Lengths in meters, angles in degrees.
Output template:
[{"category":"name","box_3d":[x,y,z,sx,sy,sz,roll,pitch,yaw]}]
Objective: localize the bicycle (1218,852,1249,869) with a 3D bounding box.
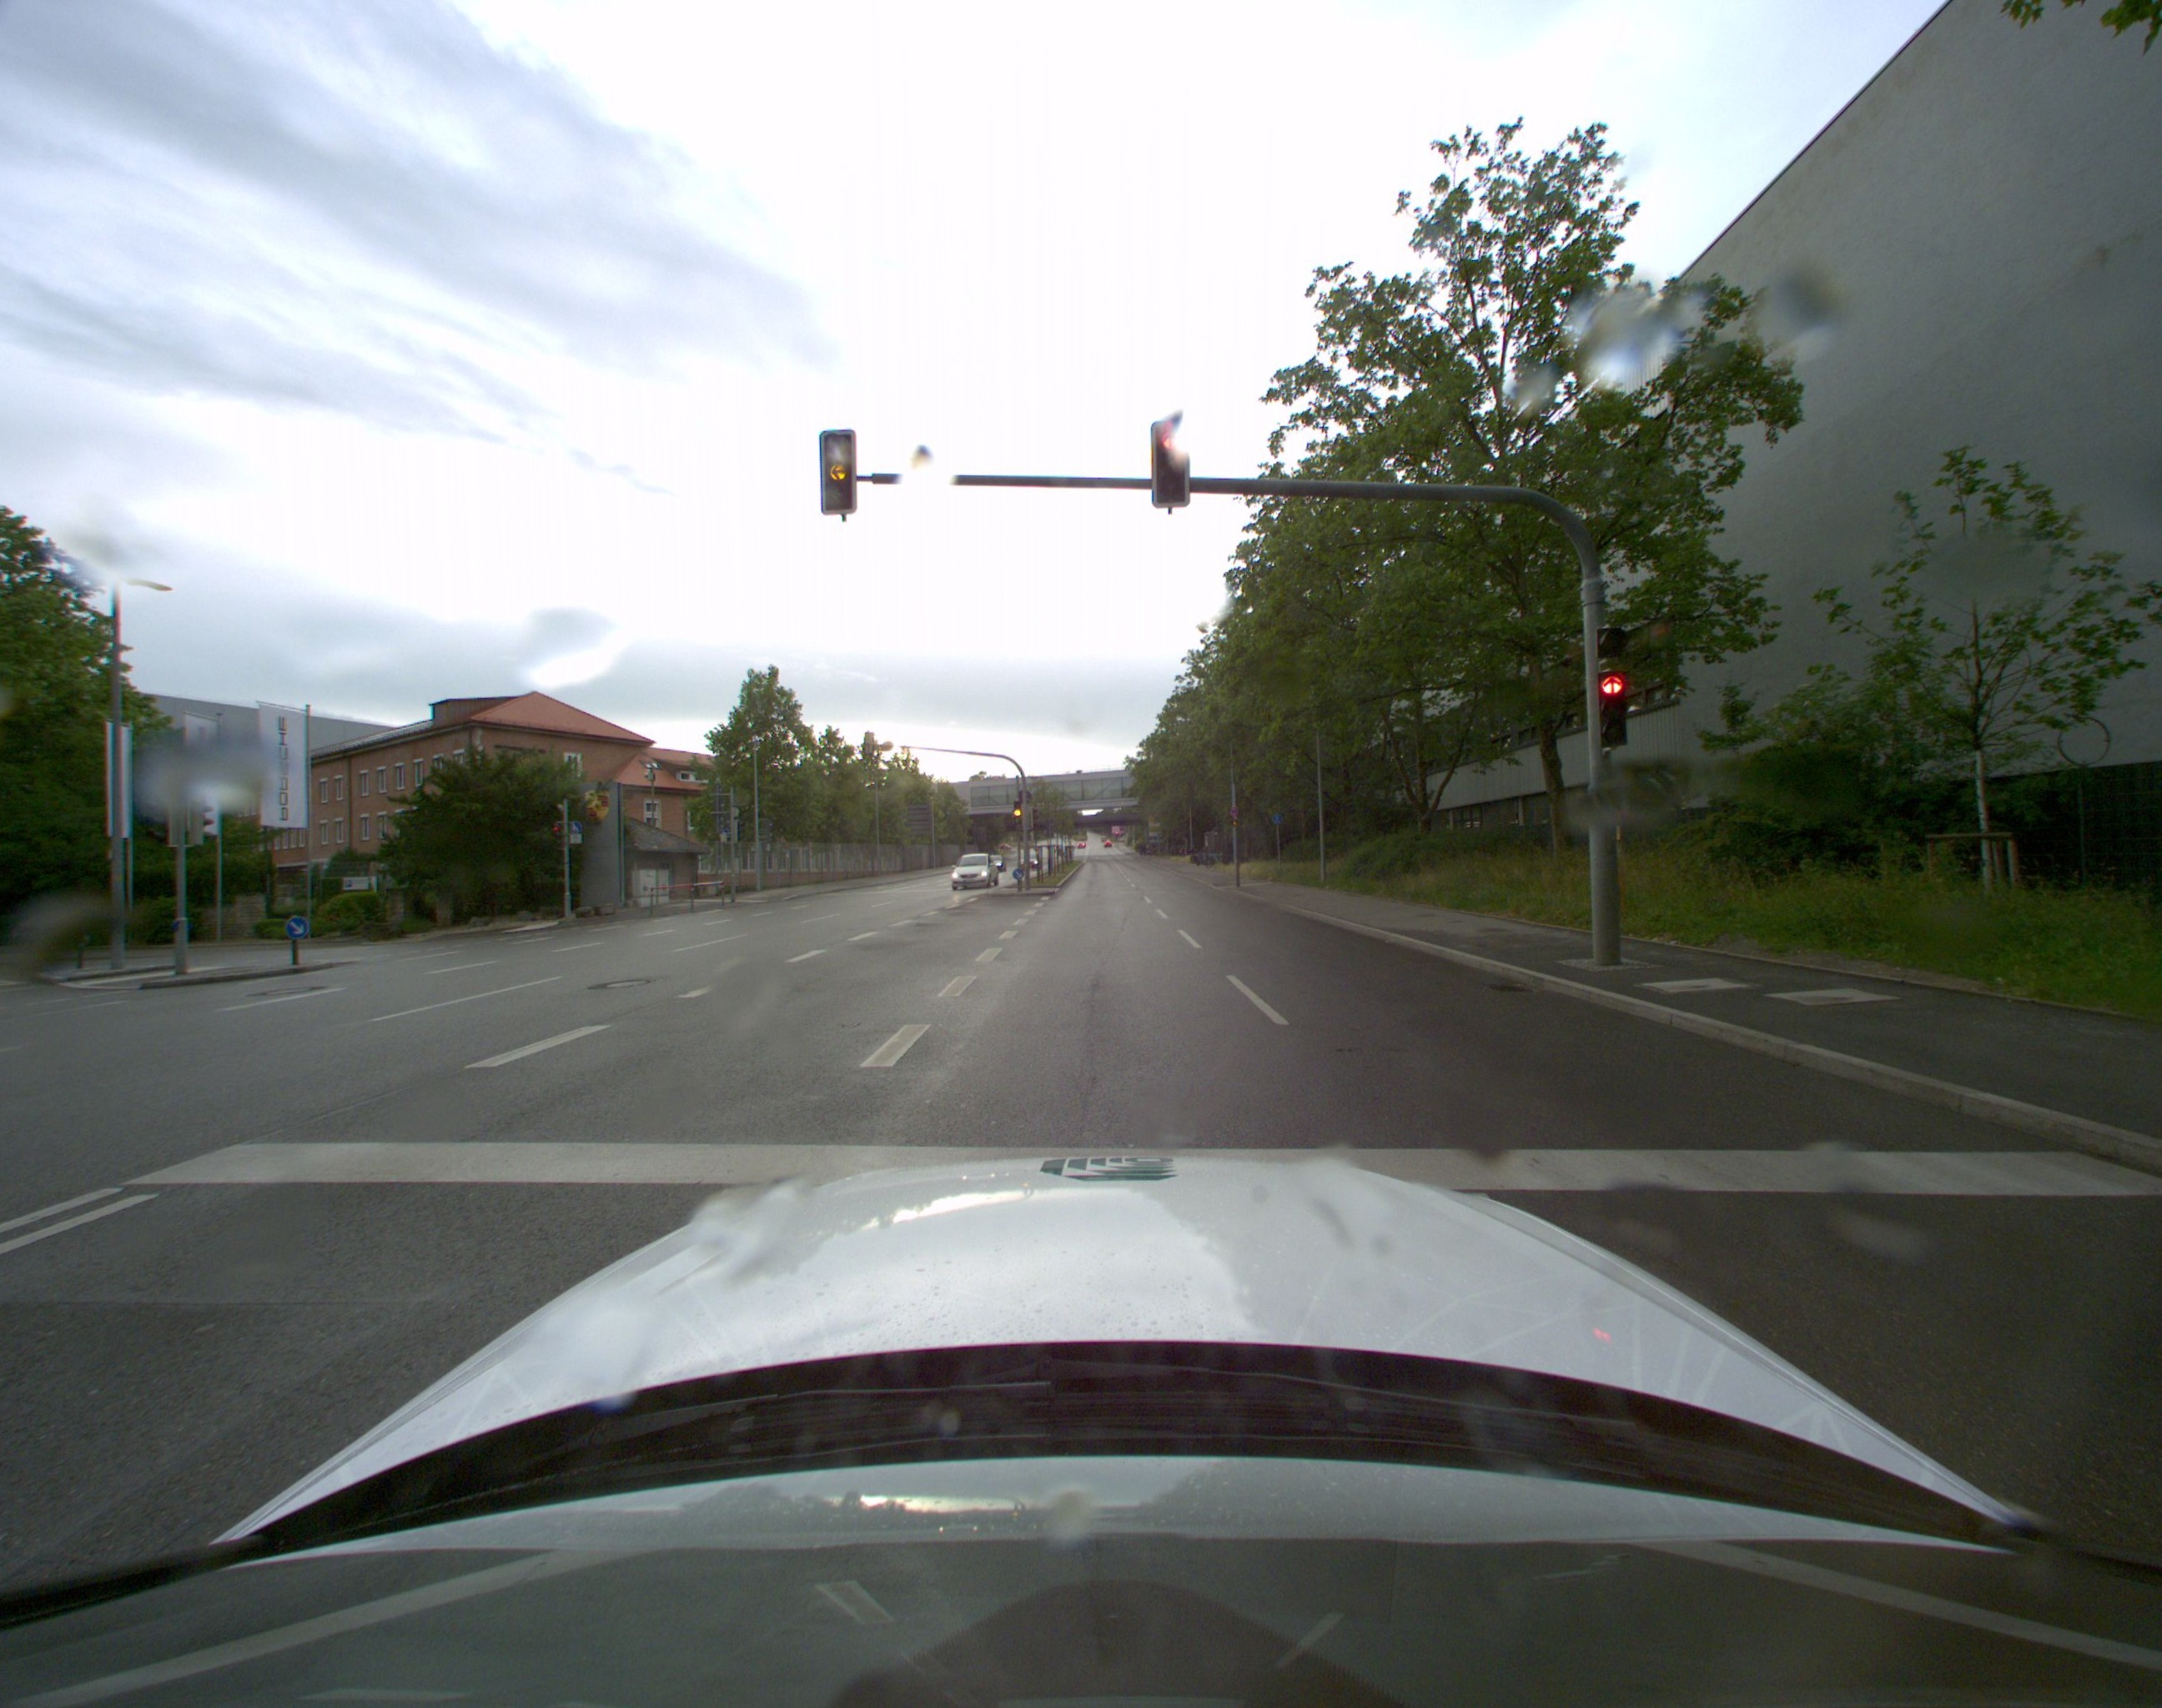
[{"category":"bicycle","box_3d":[10.082,0.436,53.772,1.982,1.095,0.541,0,-1,2]}]

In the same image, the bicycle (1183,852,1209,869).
[{"category":"bicycle","box_3d":[9.293,0.519,65.823,1.982,1.328,0.576,0,-1,2]}]

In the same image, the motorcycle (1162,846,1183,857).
[{"category":"motorcycle","box_3d":[10.719,-0.276,95.266,2.354,1.202,0.724,-3,0,9]}]

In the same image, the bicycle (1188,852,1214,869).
[{"category":"bicycle","box_3d":[9.589,0.508,65.007,1.982,1.328,0.576,0,-1,2]}]

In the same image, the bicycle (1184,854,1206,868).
[{"category":"bicycle","box_3d":[10.616,0.677,75.789,1.955,1.328,0.654,0,-1,2]}]

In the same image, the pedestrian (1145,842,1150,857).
[{"category":"pedestrian","box_3d":[9.015,-0.566,110.059,0.619,2.013,0.606,-3,0,2]}]

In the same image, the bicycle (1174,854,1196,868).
[{"category":"bicycle","box_3d":[9.392,0.631,73.510,1.955,1.328,0.654,0,-1,2]}]

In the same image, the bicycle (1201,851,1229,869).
[{"category":"bicycle","box_3d":[9.642,0.438,58.664,1.982,1.242,0.541,0,-1,2]}]

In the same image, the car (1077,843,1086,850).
[{"category":"car","box_3d":[0.093,-1.859,207.024,1.986,1.762,4.002,0,-1,2]}]

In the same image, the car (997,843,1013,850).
[{"category":"car","box_3d":[-20.831,-2.024,224.238,3.948,2.014,2.013,0,-1,35]}]

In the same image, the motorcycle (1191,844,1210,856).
[{"category":"motorcycle","box_3d":[15.707,-0.491,106.872,2.354,1.476,0.724,-3,0,9]}]

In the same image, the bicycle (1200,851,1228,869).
[{"category":"bicycle","box_3d":[9.668,0.447,59.232,1.982,1.242,0.541,0,-1,2]}]

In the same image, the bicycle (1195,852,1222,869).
[{"category":"bicycle","box_3d":[9.641,0.487,61.724,1.982,1.242,0.541,0,-1,2]}]

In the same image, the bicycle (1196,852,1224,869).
[{"category":"bicycle","box_3d":[9.614,0.472,60.775,1.982,1.242,0.541,0,-1,2]}]

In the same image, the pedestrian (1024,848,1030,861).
[{"category":"pedestrian","box_3d":[-8.926,0.057,134.979,0.870,2.004,0.854,-3,0,-2]}]

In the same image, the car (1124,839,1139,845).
[{"category":"car","box_3d":[14.653,-3.448,236.685,4.495,1.762,1.905,0,-1,0]}]

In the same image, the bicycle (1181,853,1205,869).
[{"category":"bicycle","box_3d":[9.759,0.593,70.985,1.955,1.328,0.654,0,-1,2]}]

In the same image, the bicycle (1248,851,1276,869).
[{"category":"bicycle","box_3d":[13.721,0.485,61.775,1.982,1.328,0.576,0,-1,2]}]

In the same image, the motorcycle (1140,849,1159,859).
[{"category":"motorcycle","box_3d":[8.865,-0.013,105.121,2.354,1.202,0.724,-3,0,9]}]

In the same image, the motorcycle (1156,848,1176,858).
[{"category":"motorcycle","box_3d":[10.601,-0.101,101.486,2.354,1.202,0.724,-3,0,9]}]

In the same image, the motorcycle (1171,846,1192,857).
[{"category":"motorcycle","box_3d":[11.971,-0.282,96.712,2.354,1.202,0.724,-3,0,9]}]

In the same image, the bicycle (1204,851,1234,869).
[{"category":"bicycle","box_3d":[9.469,0.404,55.817,1.982,1.216,0.541,0,-1,2]}]

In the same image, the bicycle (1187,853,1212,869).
[{"category":"bicycle","box_3d":[9.946,0.552,68.340,1.982,1.328,0.576,0,-1,2]}]

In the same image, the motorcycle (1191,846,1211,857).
[{"category":"motorcycle","box_3d":[14.818,-0.300,100.820,2.354,1.202,0.724,-3,0,9]}]

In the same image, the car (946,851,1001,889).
[{"category":"car","box_3d":[-5.008,0.696,38.436,1.870,1.624,3.780,-2,0,2]}]

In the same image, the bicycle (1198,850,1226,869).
[{"category":"bicycle","box_3d":[9.687,0.395,60.082,1.982,1.340,0.541,0,-1,2]}]

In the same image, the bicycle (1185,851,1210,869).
[{"category":"bicycle","box_3d":[9.618,0.485,67.494,1.982,1.430,0.723,0,-1,2]}]

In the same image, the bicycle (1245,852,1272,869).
[{"category":"bicycle","box_3d":[13.778,0.507,63.087,1.982,1.328,0.576,0,-1,2]}]

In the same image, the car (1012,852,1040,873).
[{"category":"car","box_3d":[-4.618,0.693,68.611,1.870,1.624,3.780,-2,0,2]}]

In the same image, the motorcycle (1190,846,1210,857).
[{"category":"motorcycle","box_3d":[14.671,-0.335,100.020,2.354,1.202,0.724,-3,0,9]}]

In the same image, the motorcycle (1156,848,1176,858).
[{"category":"motorcycle","box_3d":[10.449,-0.112,100.575,2.354,1.202,0.724,-3,0,9]}]

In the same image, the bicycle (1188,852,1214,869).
[{"category":"bicycle","box_3d":[9.288,0.507,63.107,1.982,1.242,0.541,0,-1,2]}]

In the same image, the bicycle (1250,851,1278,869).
[{"category":"bicycle","box_3d":[13.715,0.473,61.011,1.982,1.328,0.576,0,-1,2]}]

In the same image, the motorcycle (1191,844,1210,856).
[{"category":"motorcycle","box_3d":[15.851,-0.515,108.105,2.354,1.476,0.724,-3,0,9]}]

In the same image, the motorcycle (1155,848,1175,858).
[{"category":"motorcycle","box_3d":[10.307,-0.135,99.720,2.354,1.202,0.724,-3,0,9]}]

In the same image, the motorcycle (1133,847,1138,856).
[{"category":"motorcycle","box_3d":[9.650,-0.512,144.459,0.787,1.533,2.376,-3,0,0]}]

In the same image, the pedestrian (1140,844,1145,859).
[{"category":"pedestrian","box_3d":[8.300,-0.393,110.370,0.619,2.013,0.606,-3,0,2]}]

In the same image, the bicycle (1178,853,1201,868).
[{"category":"bicycle","box_3d":[9.692,0.619,72.589,1.955,1.328,0.654,0,-1,2]}]

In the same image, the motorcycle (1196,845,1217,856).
[{"category":"motorcycle","box_3d":[15.243,-0.388,98.856,2.354,1.202,0.724,-3,0,9]}]

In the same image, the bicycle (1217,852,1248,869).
[{"category":"bicycle","box_3d":[10.102,0.445,54.341,1.982,1.095,0.541,0,-1,2]}]

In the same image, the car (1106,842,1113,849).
[{"category":"car","box_3d":[7.160,-2.120,203.145,1.868,1.497,4.070,0,-1,2]}]

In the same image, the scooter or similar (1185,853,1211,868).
[{"category":"scooter or similar","box_3d":[9.191,0.528,63.847,1.982,1.138,0.541,0,-1,2]}]

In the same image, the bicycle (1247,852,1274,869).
[{"category":"bicycle","box_3d":[13.743,0.496,62.440,1.982,1.328,0.576,0,-1,2]}]

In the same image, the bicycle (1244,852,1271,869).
[{"category":"bicycle","box_3d":[13.811,0.518,63.756,1.982,1.328,0.576,0,-1,2]}]

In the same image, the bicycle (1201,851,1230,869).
[{"category":"bicycle","box_3d":[9.605,0.431,58.004,1.982,1.233,0.541,0,-1,2]}]

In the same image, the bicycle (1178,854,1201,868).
[{"category":"bicycle","box_3d":[9.892,0.648,74.303,1.955,1.328,0.654,0,-1,2]}]

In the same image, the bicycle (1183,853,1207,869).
[{"category":"bicycle","box_3d":[9.642,0.574,69.059,1.982,1.328,0.576,0,-1,2]}]

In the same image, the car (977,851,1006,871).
[{"category":"car","box_3d":[-7.525,0.573,68.951,1.870,1.624,3.780,-2,0,2]}]

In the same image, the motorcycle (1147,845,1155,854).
[{"category":"motorcycle","box_3d":[10.483,-0.654,121.814,0.789,1.311,2.371,-3,0,-7]}]

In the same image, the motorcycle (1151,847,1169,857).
[{"category":"motorcycle","box_3d":[10.504,-0.233,108.139,2.354,1.202,0.795,-3,0,9]}]

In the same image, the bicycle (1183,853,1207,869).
[{"category":"bicycle","box_3d":[9.822,0.583,70.293,1.953,1.328,0.576,0,-1,2]}]

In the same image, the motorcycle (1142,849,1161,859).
[{"category":"motorcycle","box_3d":[9.269,-0.012,106.557,2.354,1.202,0.724,-3,0,9]}]

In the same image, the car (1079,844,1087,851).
[{"category":"car","box_3d":[0.438,-1.750,211.802,1.877,1.762,3.970,0,-1,2]}]
